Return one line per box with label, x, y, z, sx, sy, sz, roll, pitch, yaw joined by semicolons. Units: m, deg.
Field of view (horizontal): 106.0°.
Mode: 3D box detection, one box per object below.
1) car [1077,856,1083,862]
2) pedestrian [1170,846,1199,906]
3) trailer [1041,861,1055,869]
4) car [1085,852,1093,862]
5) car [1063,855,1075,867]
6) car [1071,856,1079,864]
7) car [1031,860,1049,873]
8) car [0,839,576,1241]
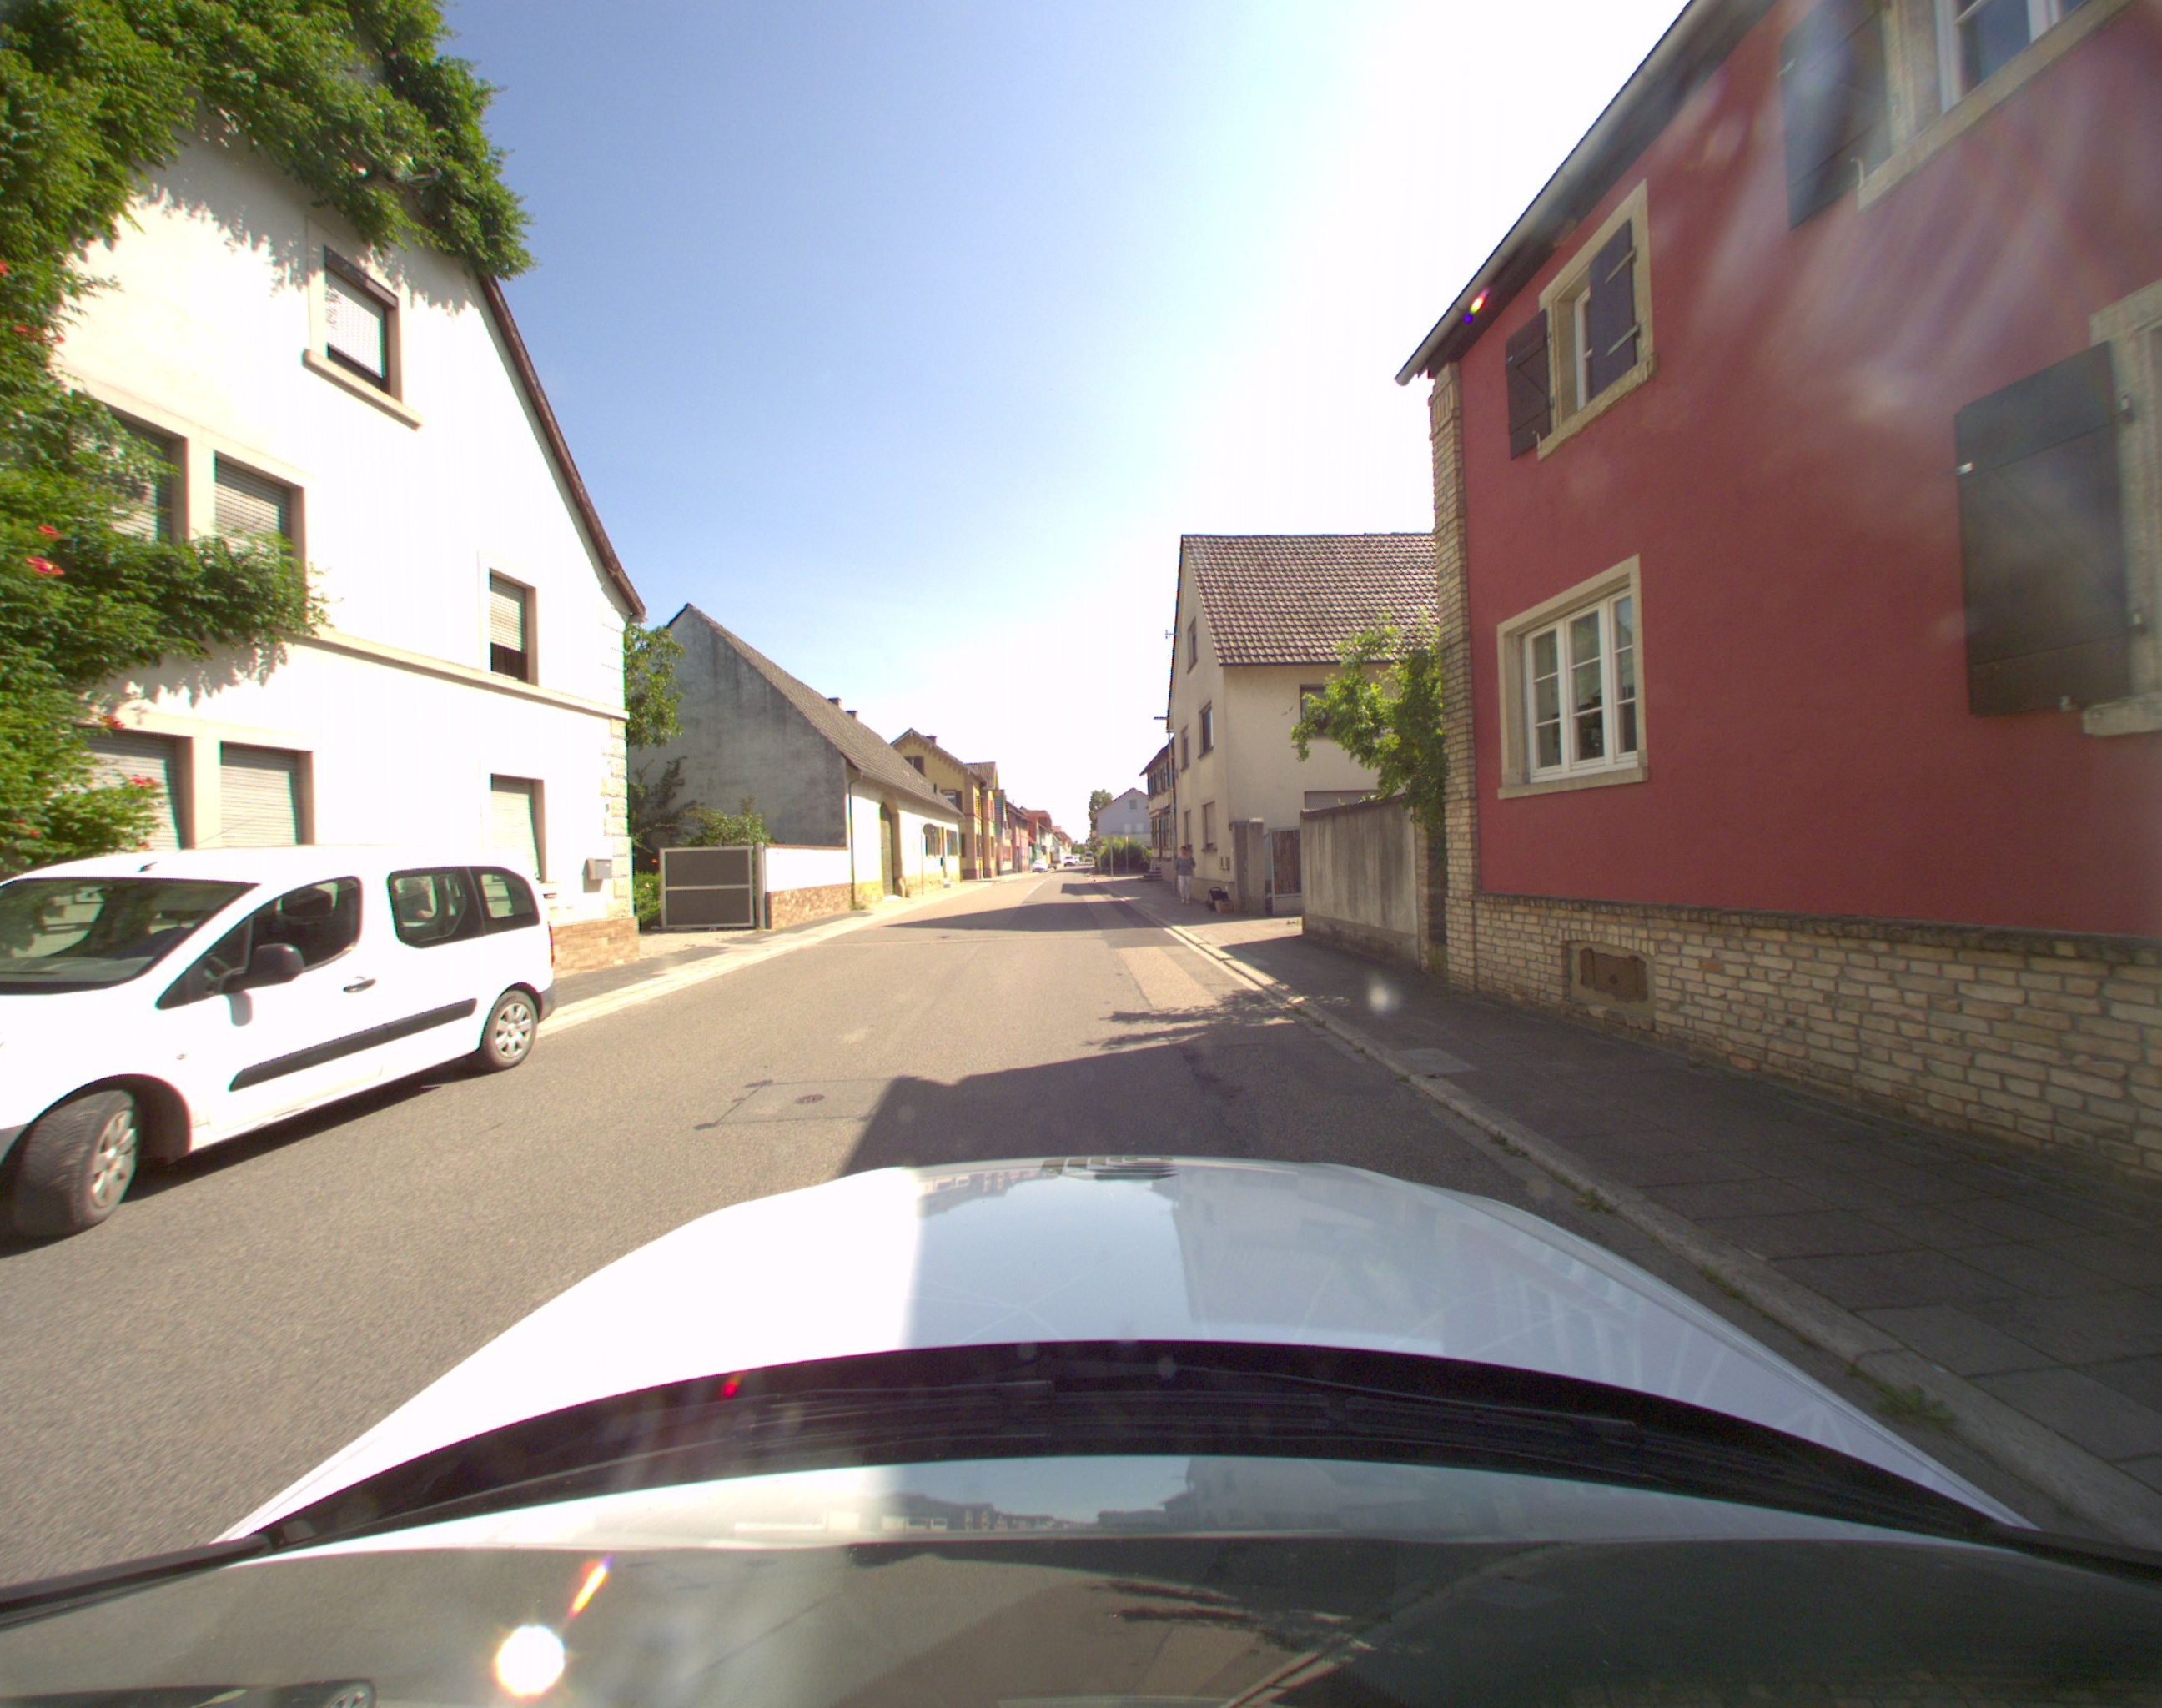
car;-0.314;1.554;256.247;1.862;1.544;3.836;-3;0;-1
pedestrian;2.928;0.615;23.150;0.716;1.664;0.893;-2;0;2
trailer;-4.740;1.565;116.444;1.988;1.090;3.997;-2;0;-2
car;2.106;0.854;213.090;2.012;2.567;3.998;-2;0;-1
car;-2.210;1.290;147.849;2.152;2.080;3.996;-3;-2;-2
car;-1.398;1.458;198.220;1.987;1.750;3.999;-2;0;0
car;-5.025;1.504;99.910;1.988;1.442;3.998;-3;0;-1
car;-5.391;0.792;4.976;1.850;1.647;4.428;-2;0;-1
